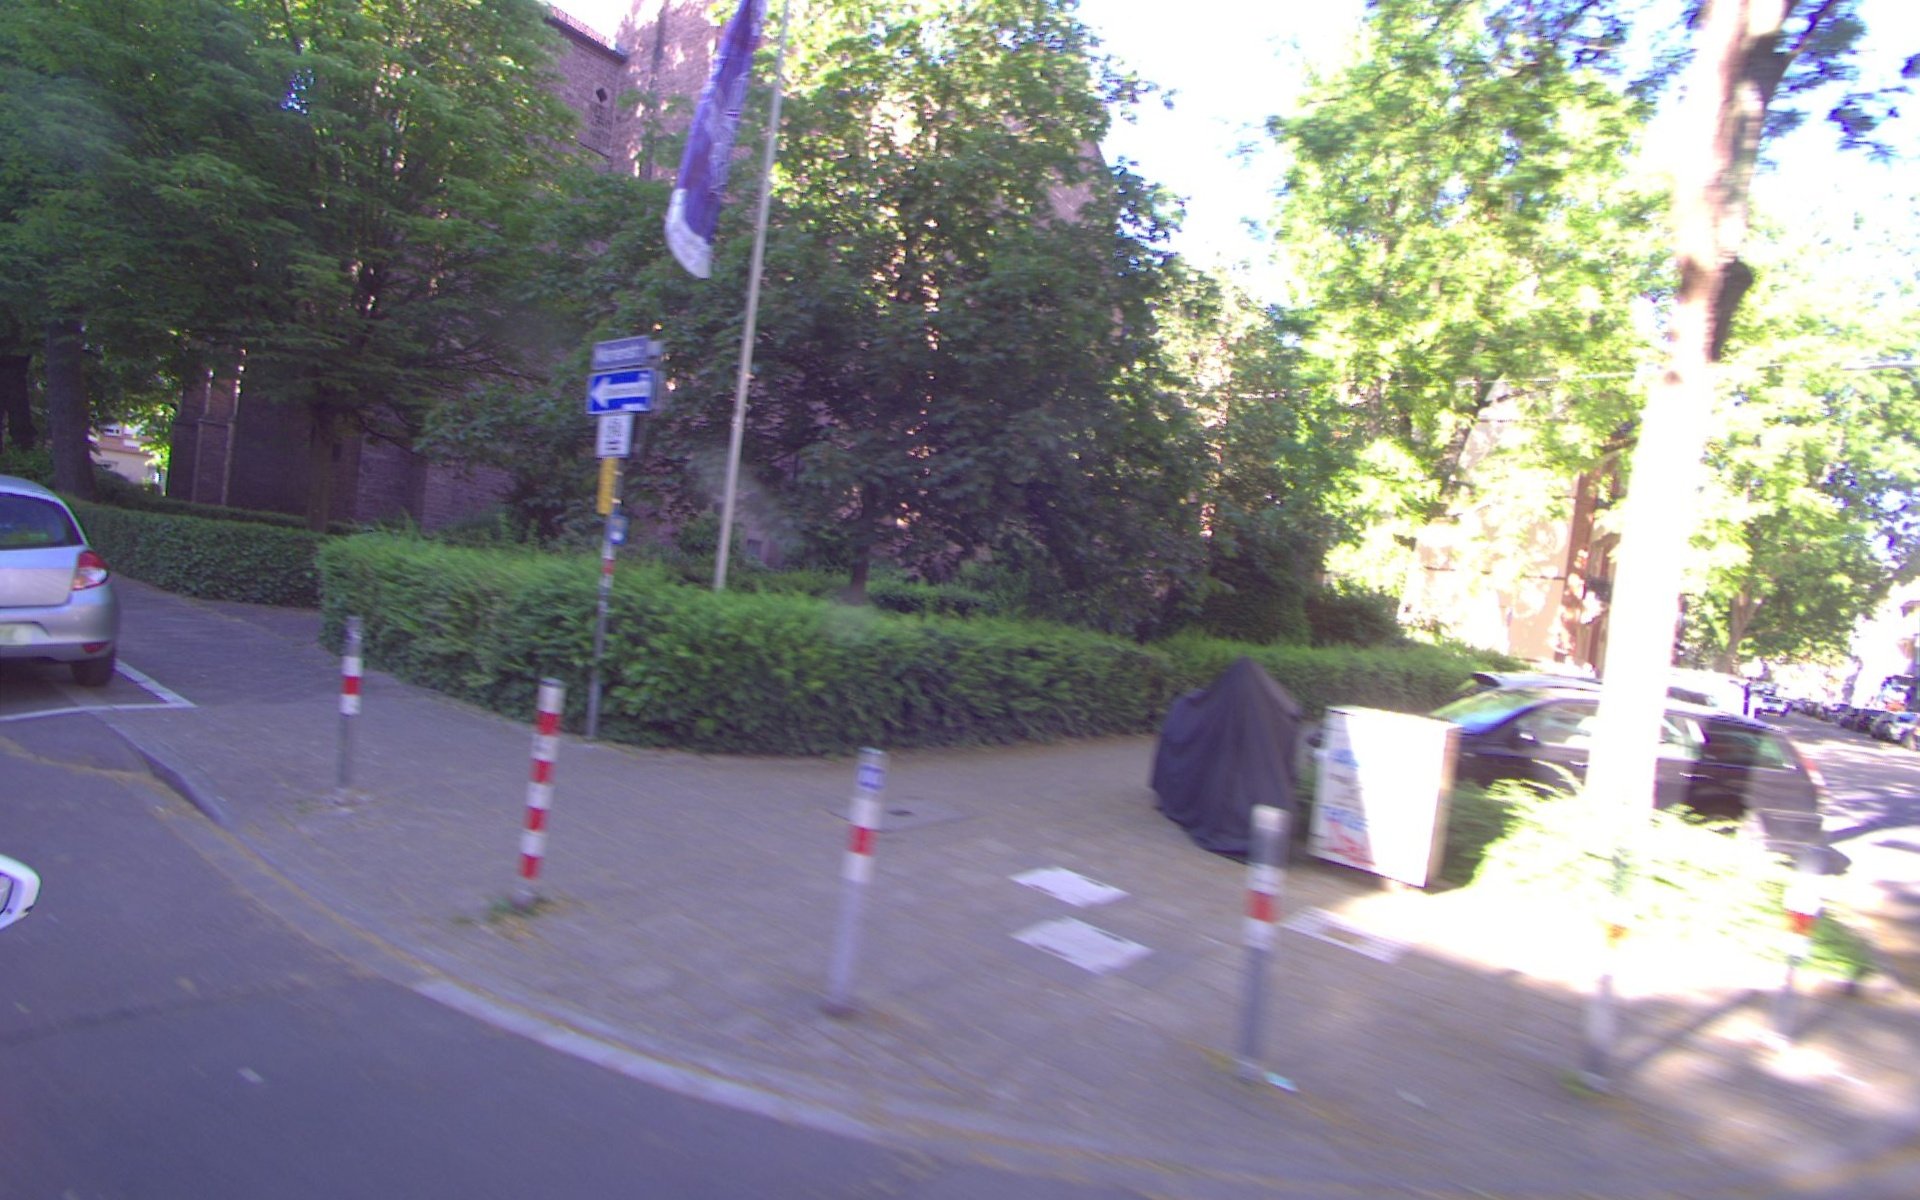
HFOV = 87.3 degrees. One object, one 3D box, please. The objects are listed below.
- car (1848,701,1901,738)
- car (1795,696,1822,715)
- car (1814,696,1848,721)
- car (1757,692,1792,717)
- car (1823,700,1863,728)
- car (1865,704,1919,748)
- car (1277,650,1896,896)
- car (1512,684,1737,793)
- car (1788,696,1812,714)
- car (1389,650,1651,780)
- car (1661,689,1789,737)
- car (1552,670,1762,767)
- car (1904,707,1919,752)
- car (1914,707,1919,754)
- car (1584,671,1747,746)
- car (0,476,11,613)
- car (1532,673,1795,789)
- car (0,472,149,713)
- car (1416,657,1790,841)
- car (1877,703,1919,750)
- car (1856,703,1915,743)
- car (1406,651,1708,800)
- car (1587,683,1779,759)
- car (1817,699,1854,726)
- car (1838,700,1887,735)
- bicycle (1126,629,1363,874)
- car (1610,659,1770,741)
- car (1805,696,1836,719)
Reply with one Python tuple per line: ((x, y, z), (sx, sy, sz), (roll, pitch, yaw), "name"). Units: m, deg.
((52.868, 6.852, 58.210), (1.802, 1.746, 4.031), (8, 1, 38), "car")
((89.191, 11.067, 105.816), (1.802, 1.746, 4.031), (8, 1, 38), "car")
((73.712, 9.141, 85.152), (1.802, 1.746, 4.031), (8, 1, 38), "car")
((65.372, 8.351, 80.752), (1.971, 1.649, 4.492), (8, 1, 40), "car")
((65.425, 8.436, 74.563), (1.802, 1.746, 4.031), (8, 1, 38), "car")
((46.326, 6.208, 49.792), (1.802, 1.746, 4.031), (8, 1, 38), "car")
((6.107, 1.650, 10.382), (5.005, 1.572, 1.803), (7, 1, 6), "car")
((14.569, 2.996, 22.304), (3.700, 1.638, 1.721), (7, 1, 20), "car")
((96.296, 12.043, 115.364), (1.802, 1.746, 4.031), (8, 1, 38), "car")
((9.832, 1.967, 18.014), (3.700, 1.638, 1.721), (7, 1, 20), "car")
((32.900, 4.828, 43.392), (3.926, 1.313, 1.794), (8, 1, 20), "car")
((16.760, 2.815, 24.404), (3.700, 1.638, 1.721), (7, 1, 20), "car")
((37.552, 5.055, 38.221), (1.970, 1.638, 4.234), (8, 1, 39), "car")
((34.024, 4.544, 33.923), (1.969, 1.830, 4.504), (7, 1, 36), "car")
((21.760, 3.309, 31.194), (3.700, 1.639, 1.585), (7, 1, 20), "car")
((-12.076, -0.775, 11.087), (3.940, 1.541, 1.721), (7, 1, 38), "car")
((13.637, 2.501, 19.751), (3.698, 1.540, 1.721), (7, 1, 15), "car")
((-7.903, -0.250, 7.618), (3.938, 1.542, 1.723), (8, 2, 36), "car")
((8.232, 1.841, 13.304), (3.700, 1.638, 1.721), (7, 1, 20), "car")
((42.998, 5.735, 45.447), (1.802, 1.816, 3.984), (8, 1, 38), "car")
((49.349, 6.522, 53.712), (1.802, 1.746, 4.031), (8, 1, 38), "car")
((9.272, 1.886, 15.997), (3.700, 1.638, 1.721), (7, 1, 20), "car")
((18.977, 3.156, 26.607), (3.700, 1.298, 1.585), (7, 1, 20), "car")
((68.869, 8.804, 79.151), (1.802, 1.746, 4.031), (8, 1, 38), "car")
((55.723, 7.232, 62.194), (1.802, 1.746, 4.031), (8, 1, 38), "car")
((2.018, 1.019, 7.555), (0.764, 1.389, 2.120), (6, 2, -8), "bicycle")
((24.283, 3.288, 33.601), (3.698, 2.064, 1.775), (7, 1, 13), "car")
((78.286, 9.789, 91.534), (1.802, 1.746, 4.031), (8, 1, 38), "car")
